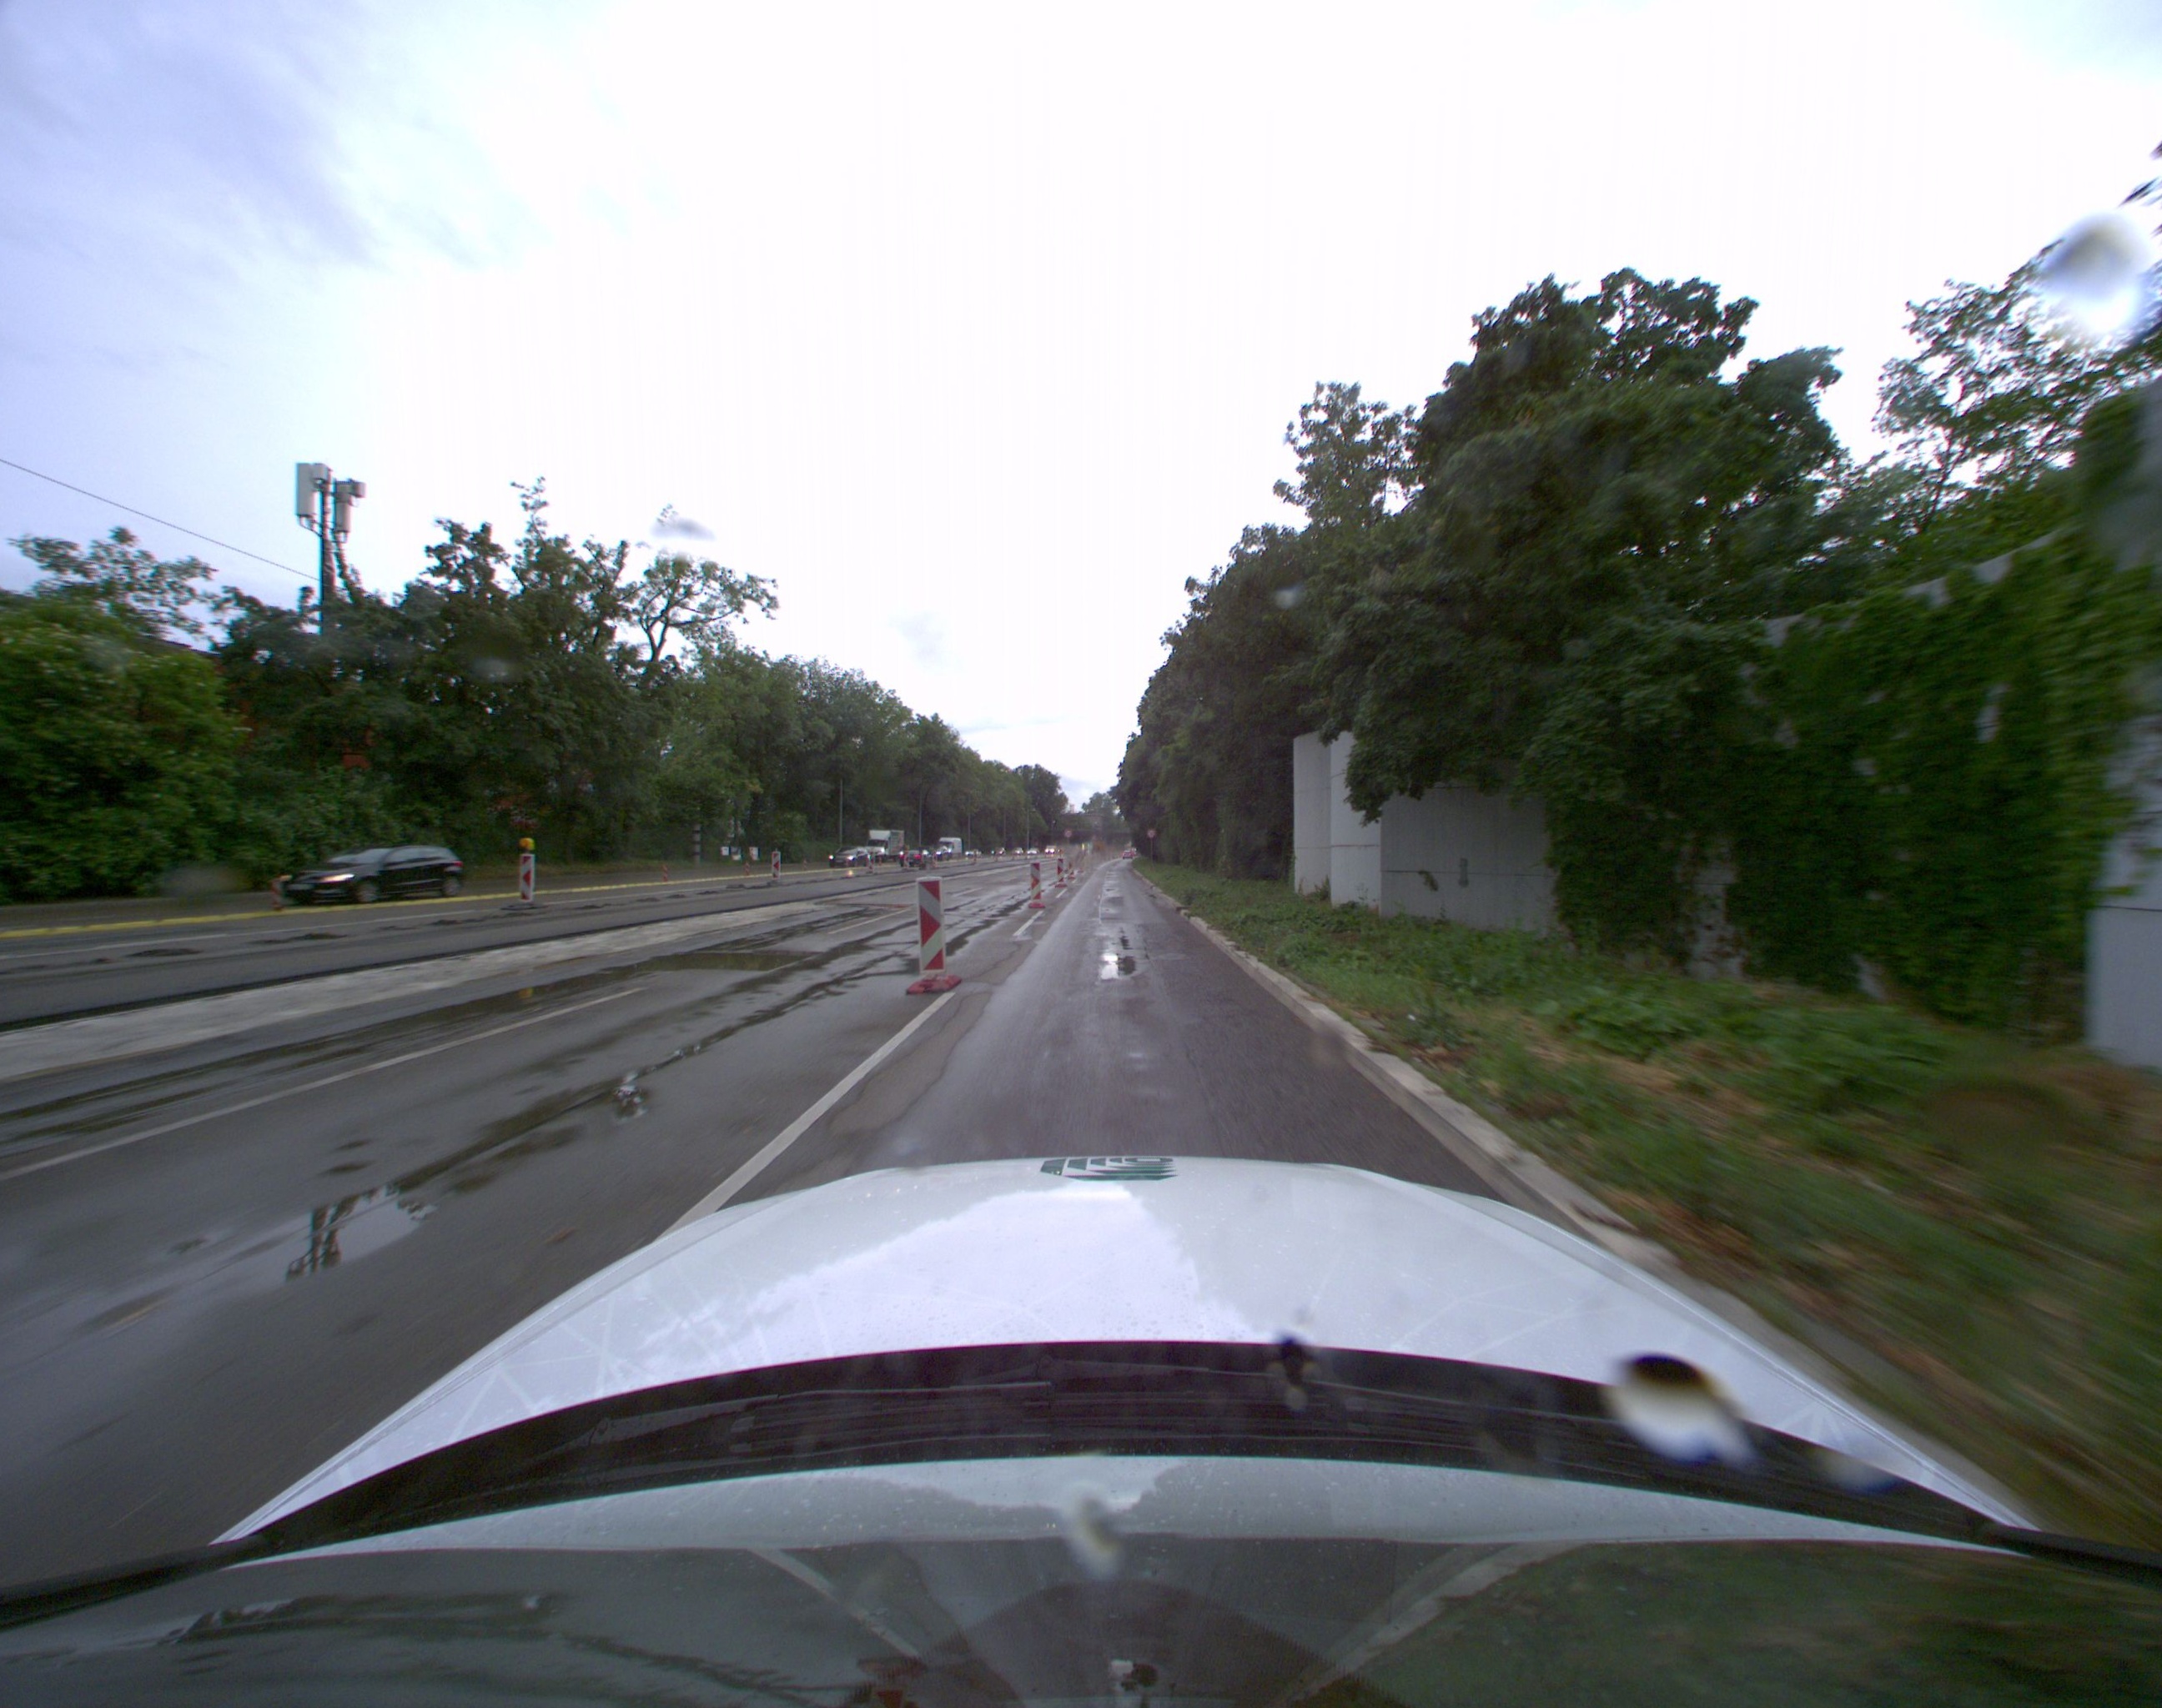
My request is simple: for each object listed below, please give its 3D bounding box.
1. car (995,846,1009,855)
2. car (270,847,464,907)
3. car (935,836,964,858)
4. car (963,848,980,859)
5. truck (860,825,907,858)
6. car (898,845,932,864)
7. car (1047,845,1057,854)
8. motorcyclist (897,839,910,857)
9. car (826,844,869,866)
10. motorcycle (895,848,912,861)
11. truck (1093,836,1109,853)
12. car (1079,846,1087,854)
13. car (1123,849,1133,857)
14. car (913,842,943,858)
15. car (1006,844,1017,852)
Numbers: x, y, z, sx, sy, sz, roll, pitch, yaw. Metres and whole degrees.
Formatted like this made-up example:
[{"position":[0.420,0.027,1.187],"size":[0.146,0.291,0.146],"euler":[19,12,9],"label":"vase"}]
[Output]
[{"position":[-13.386,-0.528,138.731],"size":[1.663,1.485,4.324],"euler":[0,1,3],"label":"car"},{"position":[-17.642,0.495,20.383],"size":[1.443,1.332,3.860],"euler":[0,1,0],"label":"car"},{"position":[-16.292,-0.874,100.986],"size":[2.091,2.579,6.860],"euler":[0,1,3],"label":"car"},{"position":[-15.611,-0.095,116.100],"size":[1.663,1.485,4.324],"euler":[0,1,3],"label":"car"},{"position":[-18.213,-1.189,75.538],"size":[2.236,2.939,6.941],"euler":[0,1,3],"label":"truck"},{"position":[-12.783,0.042,63.078],"size":[1.601,1.404,4.045],"euler":[0,1,3],"label":"car"},{"position":[-6.149,-0.992,174.481],"size":[1.663,1.808,4.324],"euler":[0,1,3],"label":"car"},{"position":[-15.153,-0.503,69.481],"size":[0.825,1.564,0.927],"euler":[1,1,2],"label":"motorcyclist"},{"position":[-16.100,0.054,56.402],"size":[1.664,1.415,4.321],"euler":[0,1,1],"label":"car"},{"position":[-15.163,0.039,69.551],"size":[0.825,1.014,2.368],"euler":[1,1,2],"label":"motorcycle"},{"position":[4.393,-2.005,175.459],"size":[3.246,3.497,13.879],"euler":[0,1,2],"label":"truck"},{"position":[0.539,-0.924,197.869],"size":[1.663,1.808,4.325],"euler":[0,2,3],"label":"car"},{"position":[8.565,-0.162,148.543],"size":[1.691,1.336,3.493],"euler":[-2,1,2],"label":"car"},{"position":[-15.675,-0.416,83.663],"size":[1.951,1.531,4.441],"euler":[0,1,3],"label":"car"},{"position":[-13.235,-1.170,155.270],"size":[1.663,1.485,4.053],"euler":[0,1,3],"label":"car"}]
